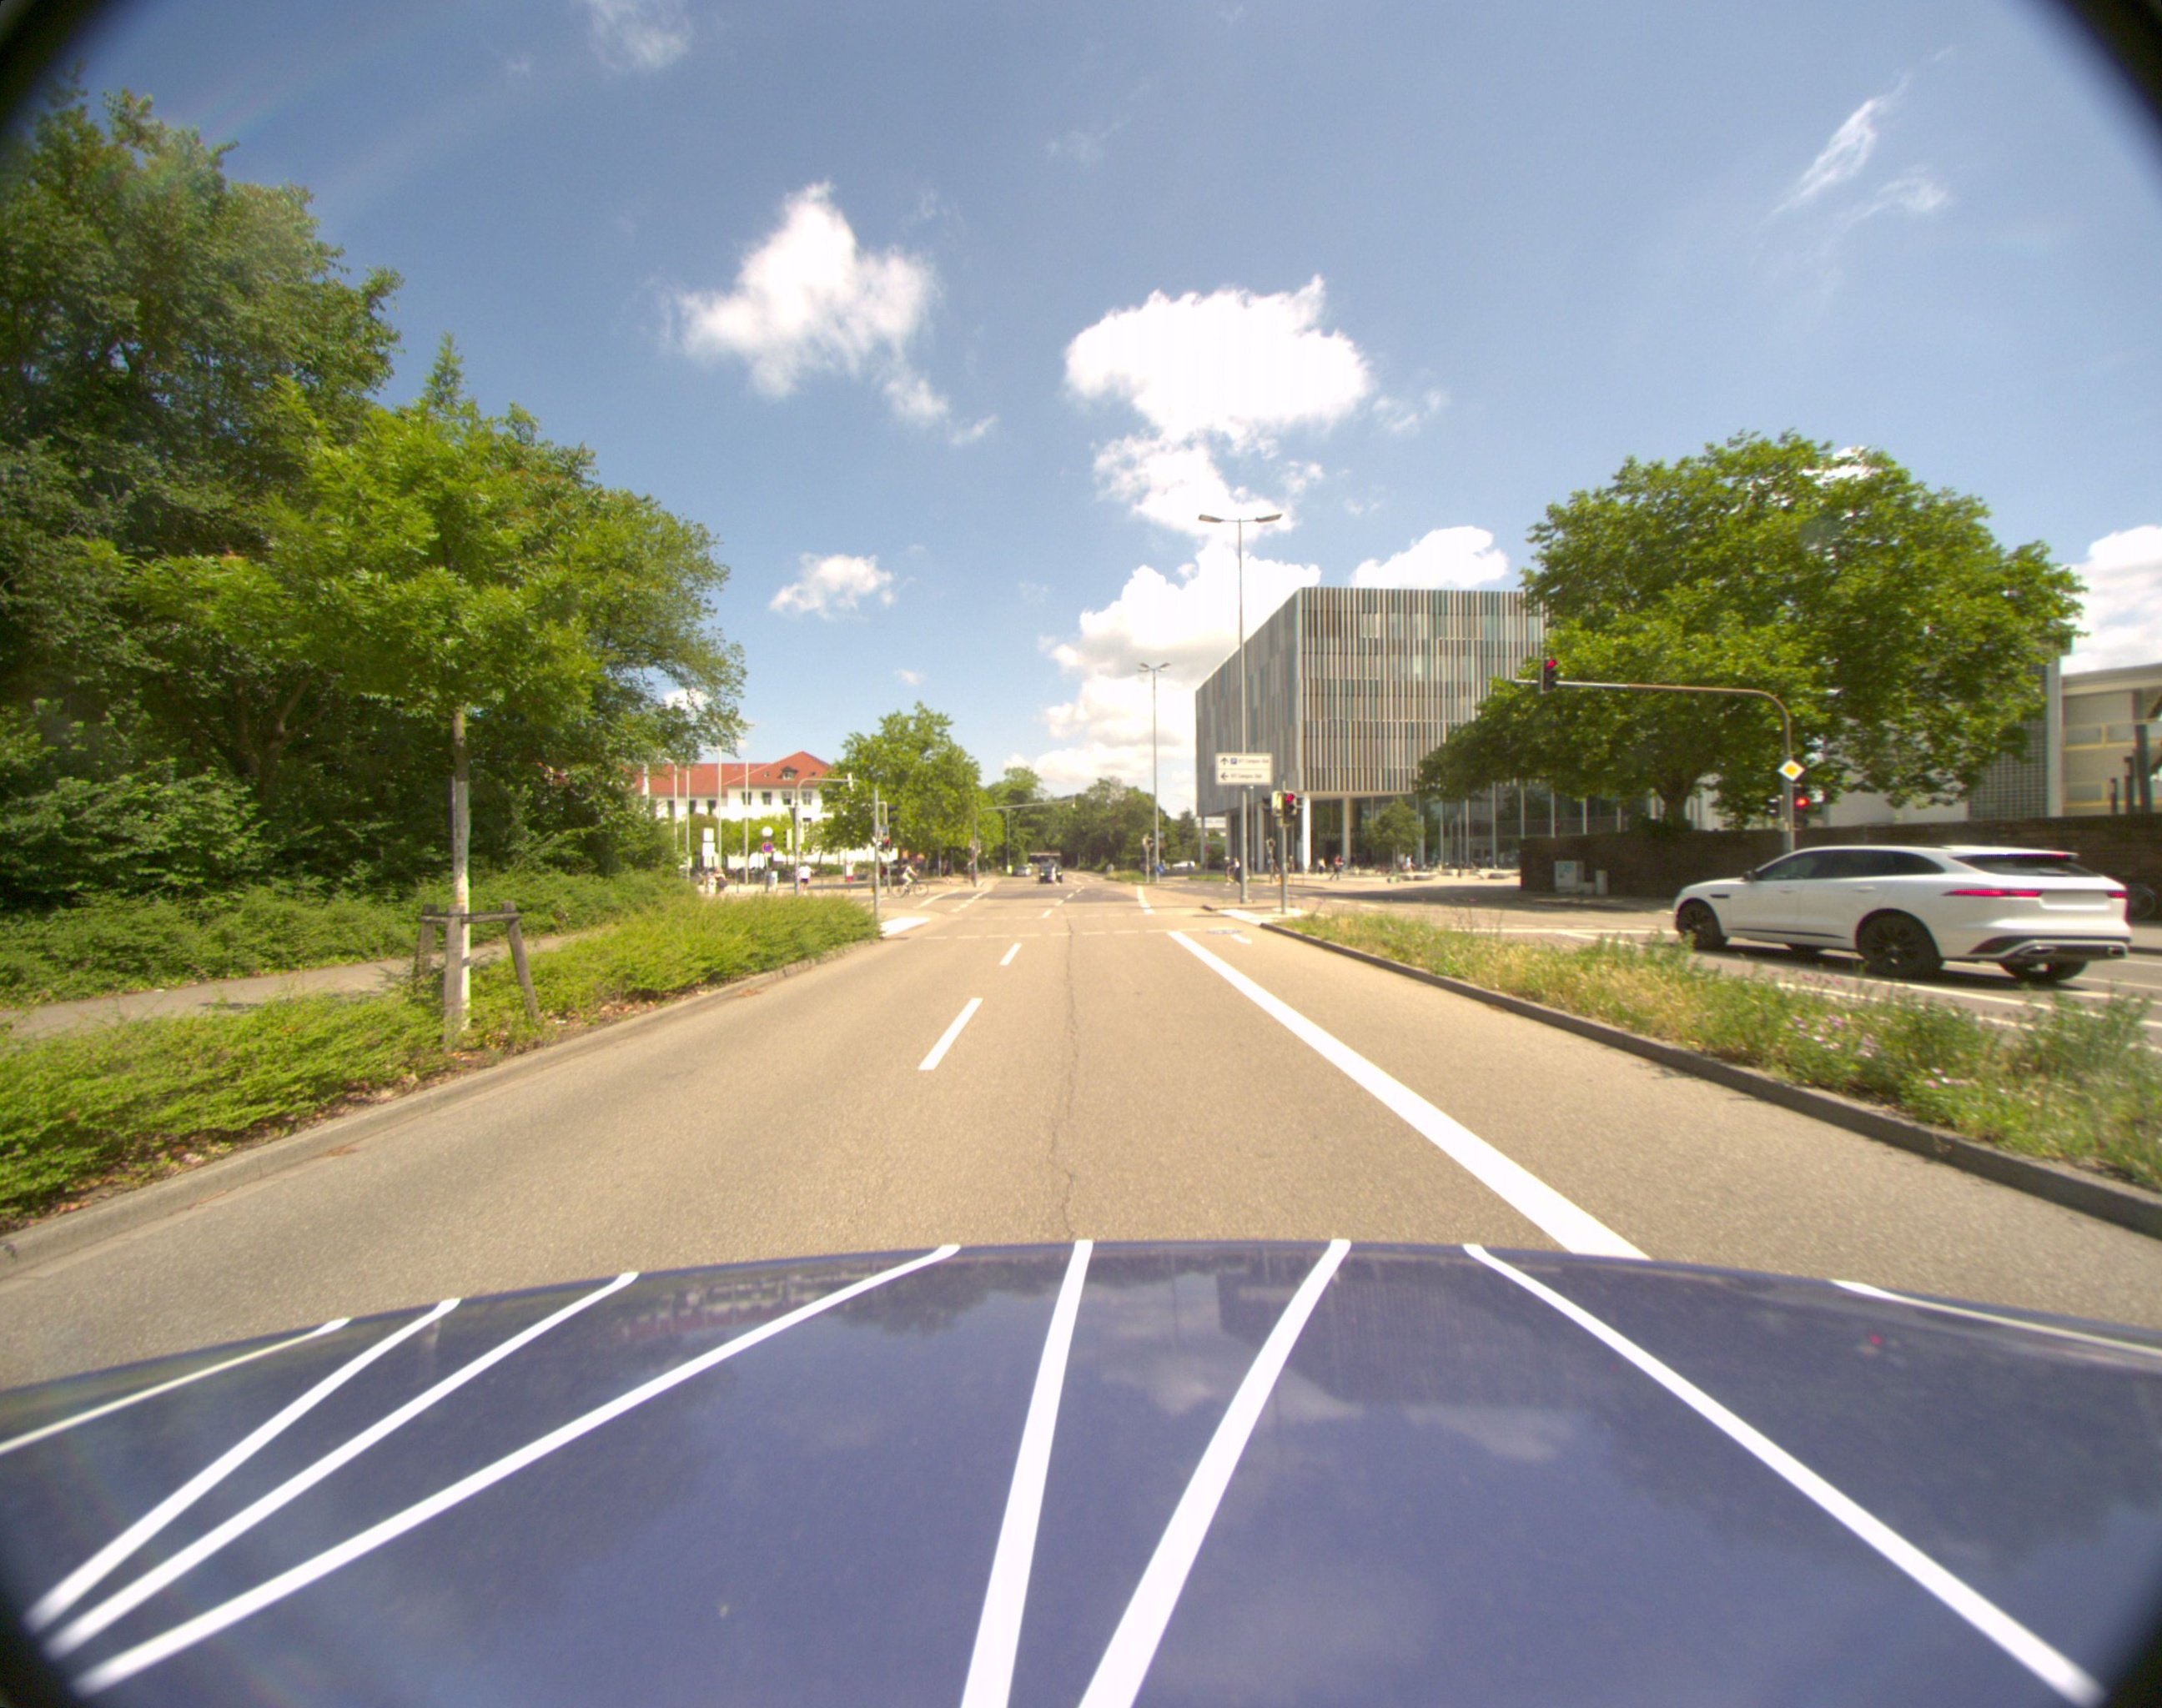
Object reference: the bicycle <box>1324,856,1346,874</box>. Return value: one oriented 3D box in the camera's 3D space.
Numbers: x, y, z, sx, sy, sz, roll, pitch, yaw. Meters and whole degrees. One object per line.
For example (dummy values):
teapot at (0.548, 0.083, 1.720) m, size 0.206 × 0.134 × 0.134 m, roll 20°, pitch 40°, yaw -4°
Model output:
bicycle at (24.104, 1.059, 72.013) m, size 0.808 × 1.634 × 3.422 m, roll 0°, pitch 0°, yaw 40°

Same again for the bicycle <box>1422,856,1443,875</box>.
bicycle at (30.308, 0.991, 65.502) m, size 0.997 × 1.543 × 3.422 m, roll -1°, pitch 0°, yaw 36°

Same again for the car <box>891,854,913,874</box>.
car at (-18.454, 1.021, 78.465) m, size 2.000 × 2.042 × 4.225 m, roll -1°, pitch 0°, yaw -9°

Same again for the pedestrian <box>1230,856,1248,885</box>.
pedestrian at (10.590, 1.116, 50.886) m, size 1.107 × 1.914 × 0.973 m, roll -1°, pitch 0°, yaw 15°

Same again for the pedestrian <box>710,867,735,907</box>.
pedestrian at (-14.778, 1.335, 31.320) m, size 0.633 × 1.617 × 0.647 m, roll 0°, pitch 1°, yaw 34°

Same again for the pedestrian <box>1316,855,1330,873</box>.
pedestrian at (23.215, 0.931, 72.846) m, size 1.011 × 1.697 × 1.213 m, roll -1°, pitch 0°, yaw 30°

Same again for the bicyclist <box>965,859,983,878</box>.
bicyclist at (-8.036, 1.087, 57.047) m, size 0.974 × 1.436 × 1.074 m, roll -1°, pitch 0°, yaw -39°

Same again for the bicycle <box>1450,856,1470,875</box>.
bicycle at (31.883, 0.988, 63.899) m, size 0.997 × 1.543 × 3.422 m, roll -1°, pitch 0°, yaw 36°

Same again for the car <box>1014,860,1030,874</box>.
car at (-7.274, 1.578, 93.817) m, size 1.913 × 1.772 × 3.998 m, roll -1°, pitch 0°, yaw -5°

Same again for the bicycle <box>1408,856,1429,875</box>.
bicycle at (29.602, 0.989, 66.669) m, size 0.997 × 1.543 × 3.422 m, roll -1°, pitch 0°, yaw 36°

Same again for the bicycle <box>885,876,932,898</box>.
bicycle at (-8.293, 1.571, 36.511) m, size 2.165 × 0.992 × 0.646 m, roll -1°, pitch 0°, yaw -18°

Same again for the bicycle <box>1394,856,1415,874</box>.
bicycle at (28.752, 0.987, 67.570) m, size 0.997 × 1.543 × 3.422 m, roll -1°, pitch 0°, yaw 36°

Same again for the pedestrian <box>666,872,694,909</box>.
pedestrian at (-15.810, 1.435, 29.971) m, size 0.786 × 1.408 × 0.657 m, roll -1°, pitch -2°, yaw 34°

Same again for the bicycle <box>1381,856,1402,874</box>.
bicycle at (27.951, 0.988, 68.429) m, size 0.997 × 1.543 × 3.422 m, roll -1°, pitch 0°, yaw 36°

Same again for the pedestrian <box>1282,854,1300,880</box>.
pedestrian at (15.929, 0.974, 57.622) m, size 0.881 × 1.914 × 0.969 m, roll -1°, pitch 1°, yaw -45°

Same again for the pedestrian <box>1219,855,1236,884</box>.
pedestrian at (10.050, 1.065, 52.209) m, size 1.107 × 1.914 × 0.973 m, roll -1°, pitch 0°, yaw 11°

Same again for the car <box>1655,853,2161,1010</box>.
car at (10.752, 0.837, 10.475) m, size 2.076 × 1.657 × 4.775 m, roll -1°, pitch 0°, yaw 0°

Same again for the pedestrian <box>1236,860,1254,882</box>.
pedestrian at (12.140, 1.265, 56.269) m, size 0.880 × 1.619 × 0.970 m, roll -1°, pitch 0°, yaw -23°

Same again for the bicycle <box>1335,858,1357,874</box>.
bicycle at (24.890, 1.129, 71.302) m, size 0.930 × 1.485 × 2.693 m, roll -1°, pitch 0°, yaw 44°

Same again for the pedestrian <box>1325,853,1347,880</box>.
pedestrian at (17.924, 0.877, 53.371) m, size 1.109 × 1.914 × 0.971 m, roll -1°, pitch 0°, yaw -6°

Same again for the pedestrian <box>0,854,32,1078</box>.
pedestrian at (-8.664, 0.862, 5.497) m, size 0.815 × 1.711 × 0.929 m, roll -1°, pitch 1°, yaw 0°

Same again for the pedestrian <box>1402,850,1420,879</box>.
pedestrian at (22.215, 0.728, 51.182) m, size 1.107 × 1.914 × 0.973 m, roll -1°, pitch 0°, yaw 21°

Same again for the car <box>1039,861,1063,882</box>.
car at (-2.488, 1.417, 62.595) m, size 1.846 × 1.593 × 3.999 m, roll -1°, pitch 0°, yaw -3°

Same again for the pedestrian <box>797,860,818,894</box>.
pedestrian at (-15.376, 1.262, 42.695) m, size 0.879 × 1.861 × 0.971 m, roll -1°, pitch 0°, yaw -5°

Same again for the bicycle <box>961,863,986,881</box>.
bicycle at (-8.103, 1.338, 57.150) m, size 0.887 × 1.244 × 2.159 m, roll -1°, pitch 0°, yaw -38°

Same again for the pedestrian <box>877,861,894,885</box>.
pedestrian at (-13.147, 1.261, 51.049) m, size 1.064 × 1.588 × 0.970 m, roll -1°, pitch 0°, yaw -16°

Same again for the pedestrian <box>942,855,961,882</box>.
pedestrian at (-9.386, 1.065, 55.094) m, size 1.030 × 1.914 × 0.973 m, roll -1°, pitch 0°, yaw 20°

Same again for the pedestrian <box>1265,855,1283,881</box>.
pedestrian at (14.342, 1.034, 56.476) m, size 0.880 × 1.914 × 0.970 m, roll -1°, pitch 1°, yaw -26°

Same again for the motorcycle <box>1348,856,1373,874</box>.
motorcycle at (25.881, 1.020, 70.376) m, size 0.969 × 1.630 × 3.305 m, roll -1°, pitch 0°, yaw 43°

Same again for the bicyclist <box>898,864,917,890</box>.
bicyclist at (-8.328, 1.083, 36.485) m, size 0.834 × 1.219 × 0.617 m, roll -1°, pitch 0°, yaw -18°

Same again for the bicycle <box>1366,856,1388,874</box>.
bicycle at (27.026, 0.988, 69.442) m, size 1.049 × 1.543 × 3.422 m, roll -1°, pitch 0°, yaw 36°

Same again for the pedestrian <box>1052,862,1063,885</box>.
pedestrian at (-1.607, 1.303, 51.427) m, size 0.591 × 1.495 × 0.416 m, roll -1°, pitch 1°, yaw -20°
